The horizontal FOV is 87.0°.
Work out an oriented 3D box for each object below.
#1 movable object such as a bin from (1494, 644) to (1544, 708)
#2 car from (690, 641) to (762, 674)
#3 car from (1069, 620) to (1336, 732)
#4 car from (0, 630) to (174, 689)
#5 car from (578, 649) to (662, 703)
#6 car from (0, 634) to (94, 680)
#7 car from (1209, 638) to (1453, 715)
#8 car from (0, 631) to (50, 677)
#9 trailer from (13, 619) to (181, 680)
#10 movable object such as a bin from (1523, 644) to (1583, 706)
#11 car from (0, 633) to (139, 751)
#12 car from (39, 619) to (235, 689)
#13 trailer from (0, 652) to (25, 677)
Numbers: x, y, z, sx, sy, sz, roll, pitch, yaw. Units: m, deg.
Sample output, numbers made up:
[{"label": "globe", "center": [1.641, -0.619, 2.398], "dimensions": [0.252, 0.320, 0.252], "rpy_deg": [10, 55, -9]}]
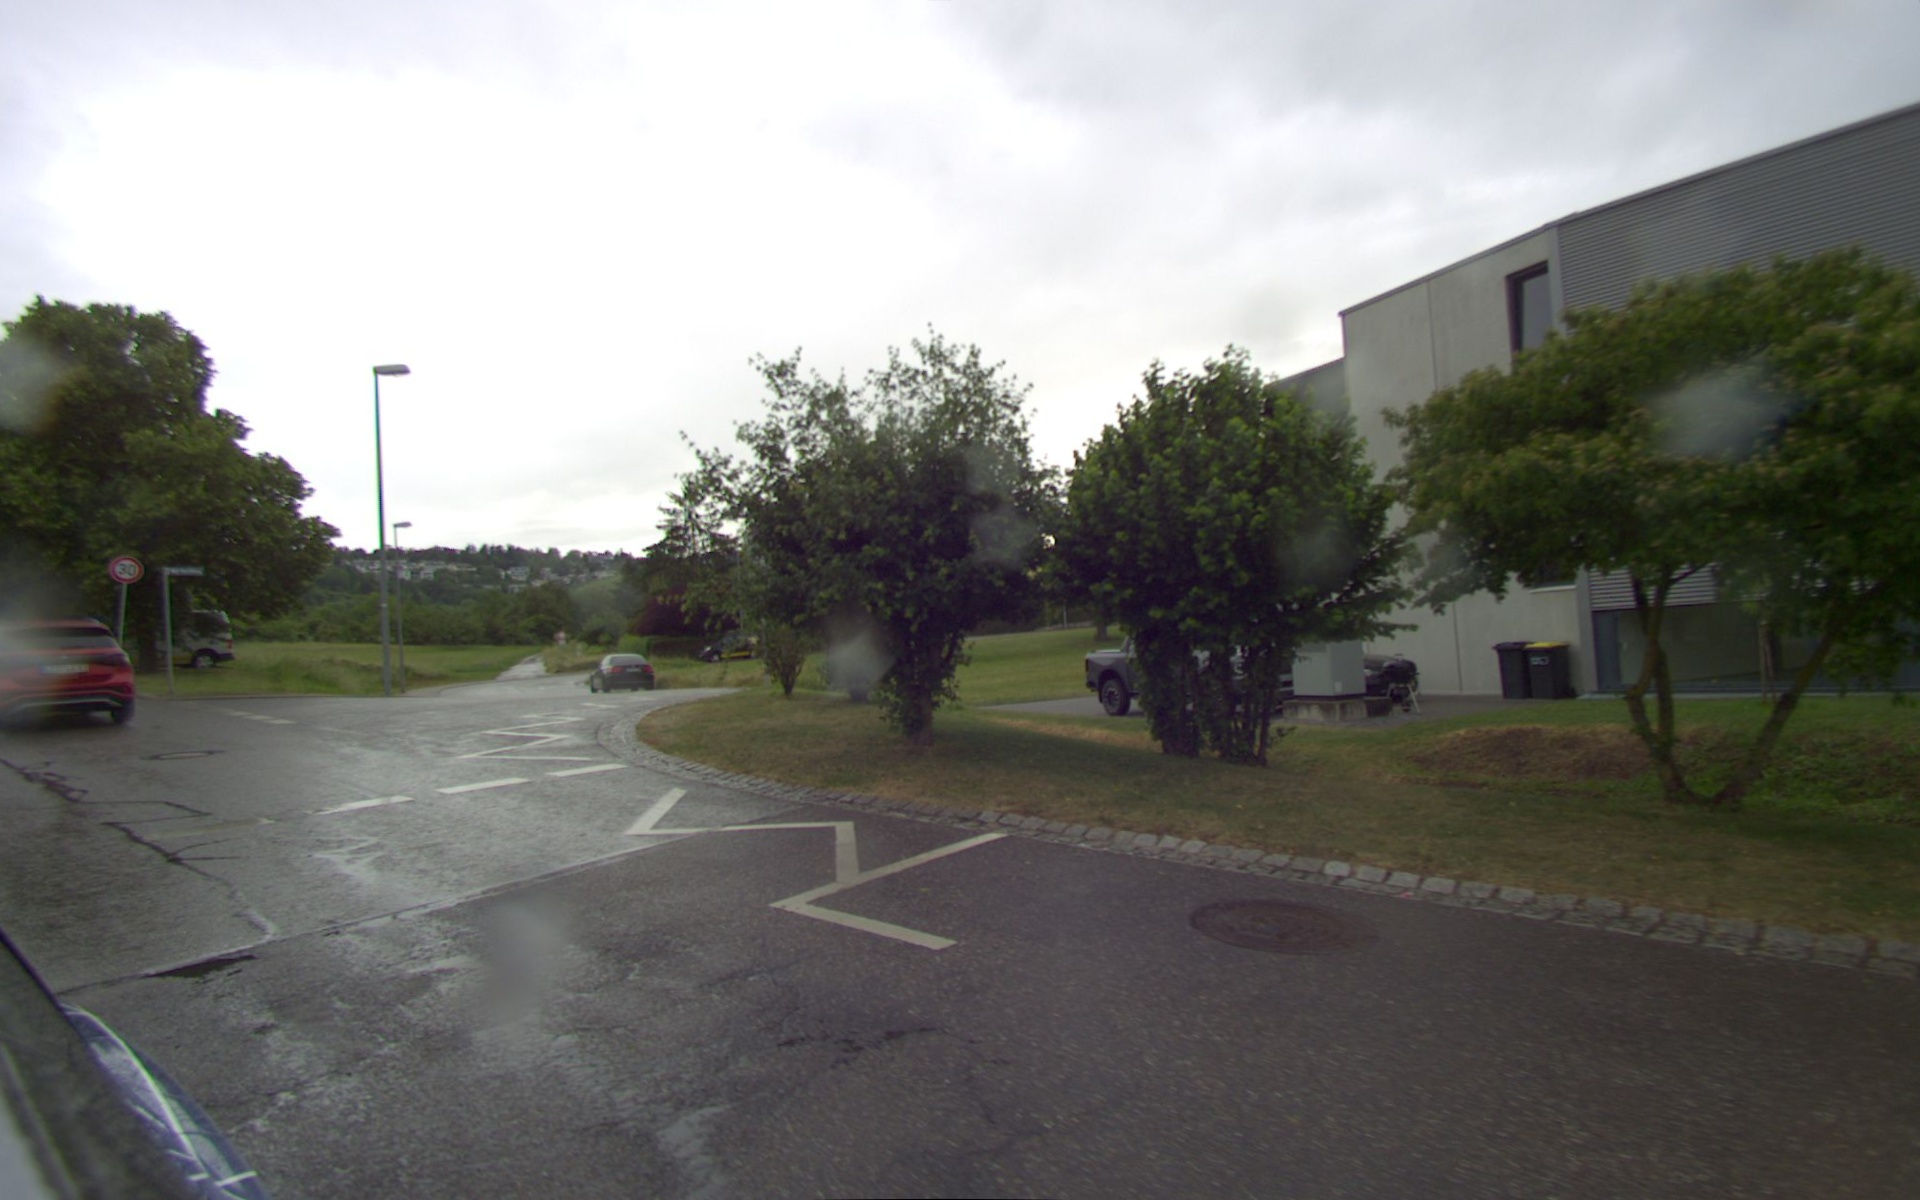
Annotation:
[{"label": "movable object such as a bin", "center": [10.524, 1.420, 19.054], "dimensions": [0.547, 1.175, 0.569], "rpy_deg": [1, -4, -25]}, {"label": "car", "center": [-16.072, 3.953, 69.571], "dimensions": [4.426, 2.237, 1.935], "rpy_deg": [2, -4, -32]}, {"label": "car", "center": [4.757, 1.569, 20.989], "dimensions": [2.099, 1.937, 5.627], "rpy_deg": [-1, -4, -28]}, {"label": "car", "center": [-28.328, 1.875, 32.808], "dimensions": [1.750, 1.735, 4.162], "rpy_deg": [-1, -2, 33]}, {"label": "car", "center": [-12.544, 2.813, 37.152], "dimensions": [1.966, 1.767, 4.395], "rpy_deg": [1, -6, -32]}, {"label": "car", "center": [-36.659, 2.222, 39.112], "dimensions": [1.802, 1.602, 4.577], "rpy_deg": [-2, 0, 36]}, {"label": "car", "center": [7.609, 1.535, 21.312], "dimensions": [1.965, 1.407, 4.705], "rpy_deg": [1, -3, -28]}, {"label": "car", "center": [-39.139, 2.197, 40.253], "dimensions": [2.022, 1.734, 4.036], "rpy_deg": [-2, 0, 37]}, {"label": "trailer", "center": [-30.038, 1.657, 35.330], "dimensions": [1.770, 1.999, 4.175], "rpy_deg": [-1, -2, 36]}, {"label": "movable object such as a bin", "center": [10.842, 1.368, 18.510], "dimensions": [0.626, 1.105, 0.676], "rpy_deg": [1, -4, -25]}, {"label": "car", "center": [-13.929, 1.299, 15.316], "dimensions": [3.934, 1.520, 1.729], "rpy_deg": [-1, -1, 42]}, {"label": "car", "center": [-24.206, 1.534, 29.883], "dimensions": [1.861, 1.920, 4.255], "rpy_deg": [-2, -2, 41]}, {"label": "trailer", "center": [-41.374, 2.741, 41.651], "dimensions": [1.995, 0.968, 3.909], "rpy_deg": [-3, -1, 34]}]
